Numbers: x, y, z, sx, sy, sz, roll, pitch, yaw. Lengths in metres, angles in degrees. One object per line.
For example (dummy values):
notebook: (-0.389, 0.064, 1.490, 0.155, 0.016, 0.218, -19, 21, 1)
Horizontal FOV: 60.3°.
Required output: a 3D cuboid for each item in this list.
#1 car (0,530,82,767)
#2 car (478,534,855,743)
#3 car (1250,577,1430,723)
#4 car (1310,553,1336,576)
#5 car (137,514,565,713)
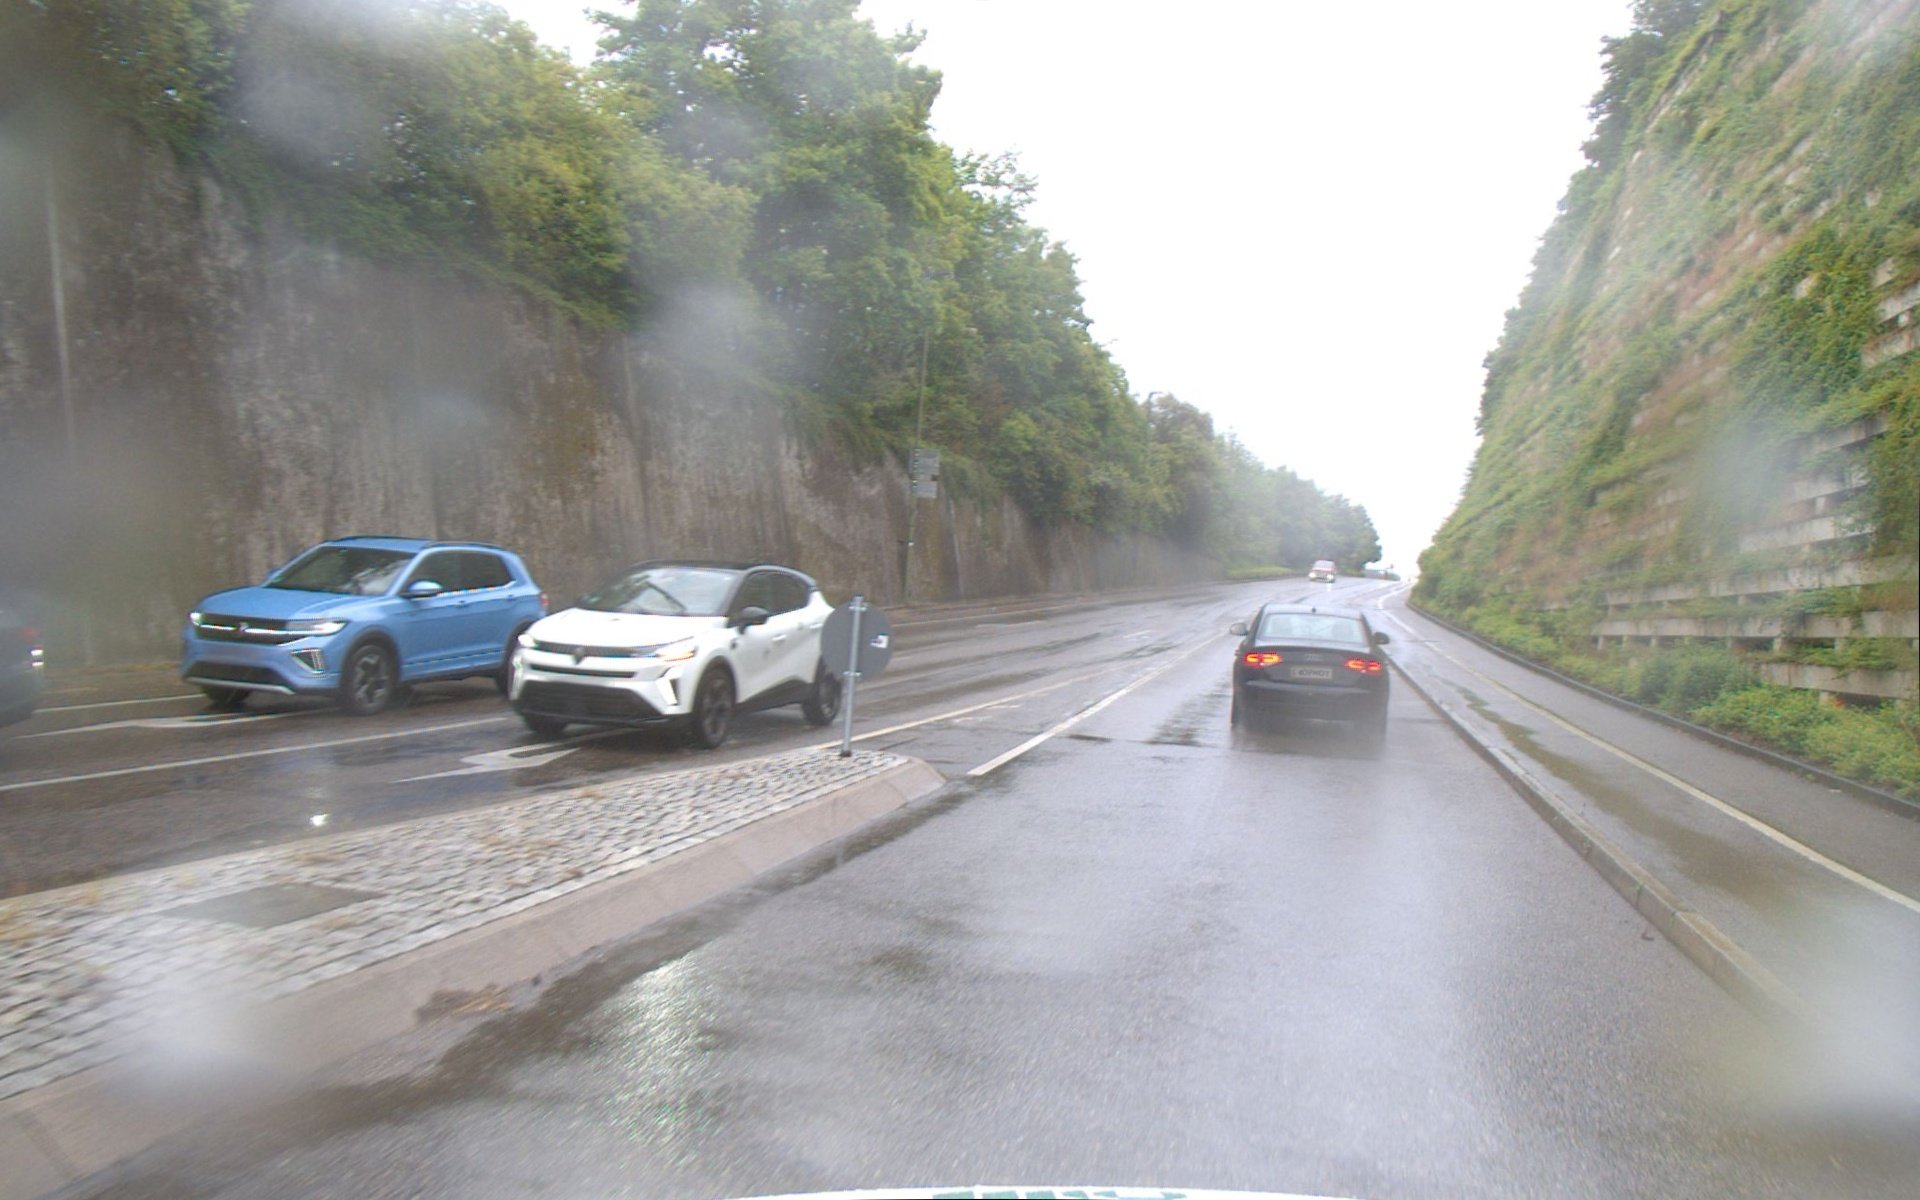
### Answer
car: (-7.690, 0.303, 9.368, 1.952, 1.529, 4.730, 1, 0, 19)
car: (-2.507, 0.278, 15.189, 1.829, 1.629, 4.003, 1, 1, 16)
car: (4.515, 0.509, 19.758, 1.852, 1.518, 4.211, 1, 1, 13)
car: (27.759, -2.716, 126.444, 1.696, 1.645, 4.003, 4, 2, 14)
car: (-5.758, 0.102, 16.211, 1.777, 1.686, 4.052, 1, 0, 19)
